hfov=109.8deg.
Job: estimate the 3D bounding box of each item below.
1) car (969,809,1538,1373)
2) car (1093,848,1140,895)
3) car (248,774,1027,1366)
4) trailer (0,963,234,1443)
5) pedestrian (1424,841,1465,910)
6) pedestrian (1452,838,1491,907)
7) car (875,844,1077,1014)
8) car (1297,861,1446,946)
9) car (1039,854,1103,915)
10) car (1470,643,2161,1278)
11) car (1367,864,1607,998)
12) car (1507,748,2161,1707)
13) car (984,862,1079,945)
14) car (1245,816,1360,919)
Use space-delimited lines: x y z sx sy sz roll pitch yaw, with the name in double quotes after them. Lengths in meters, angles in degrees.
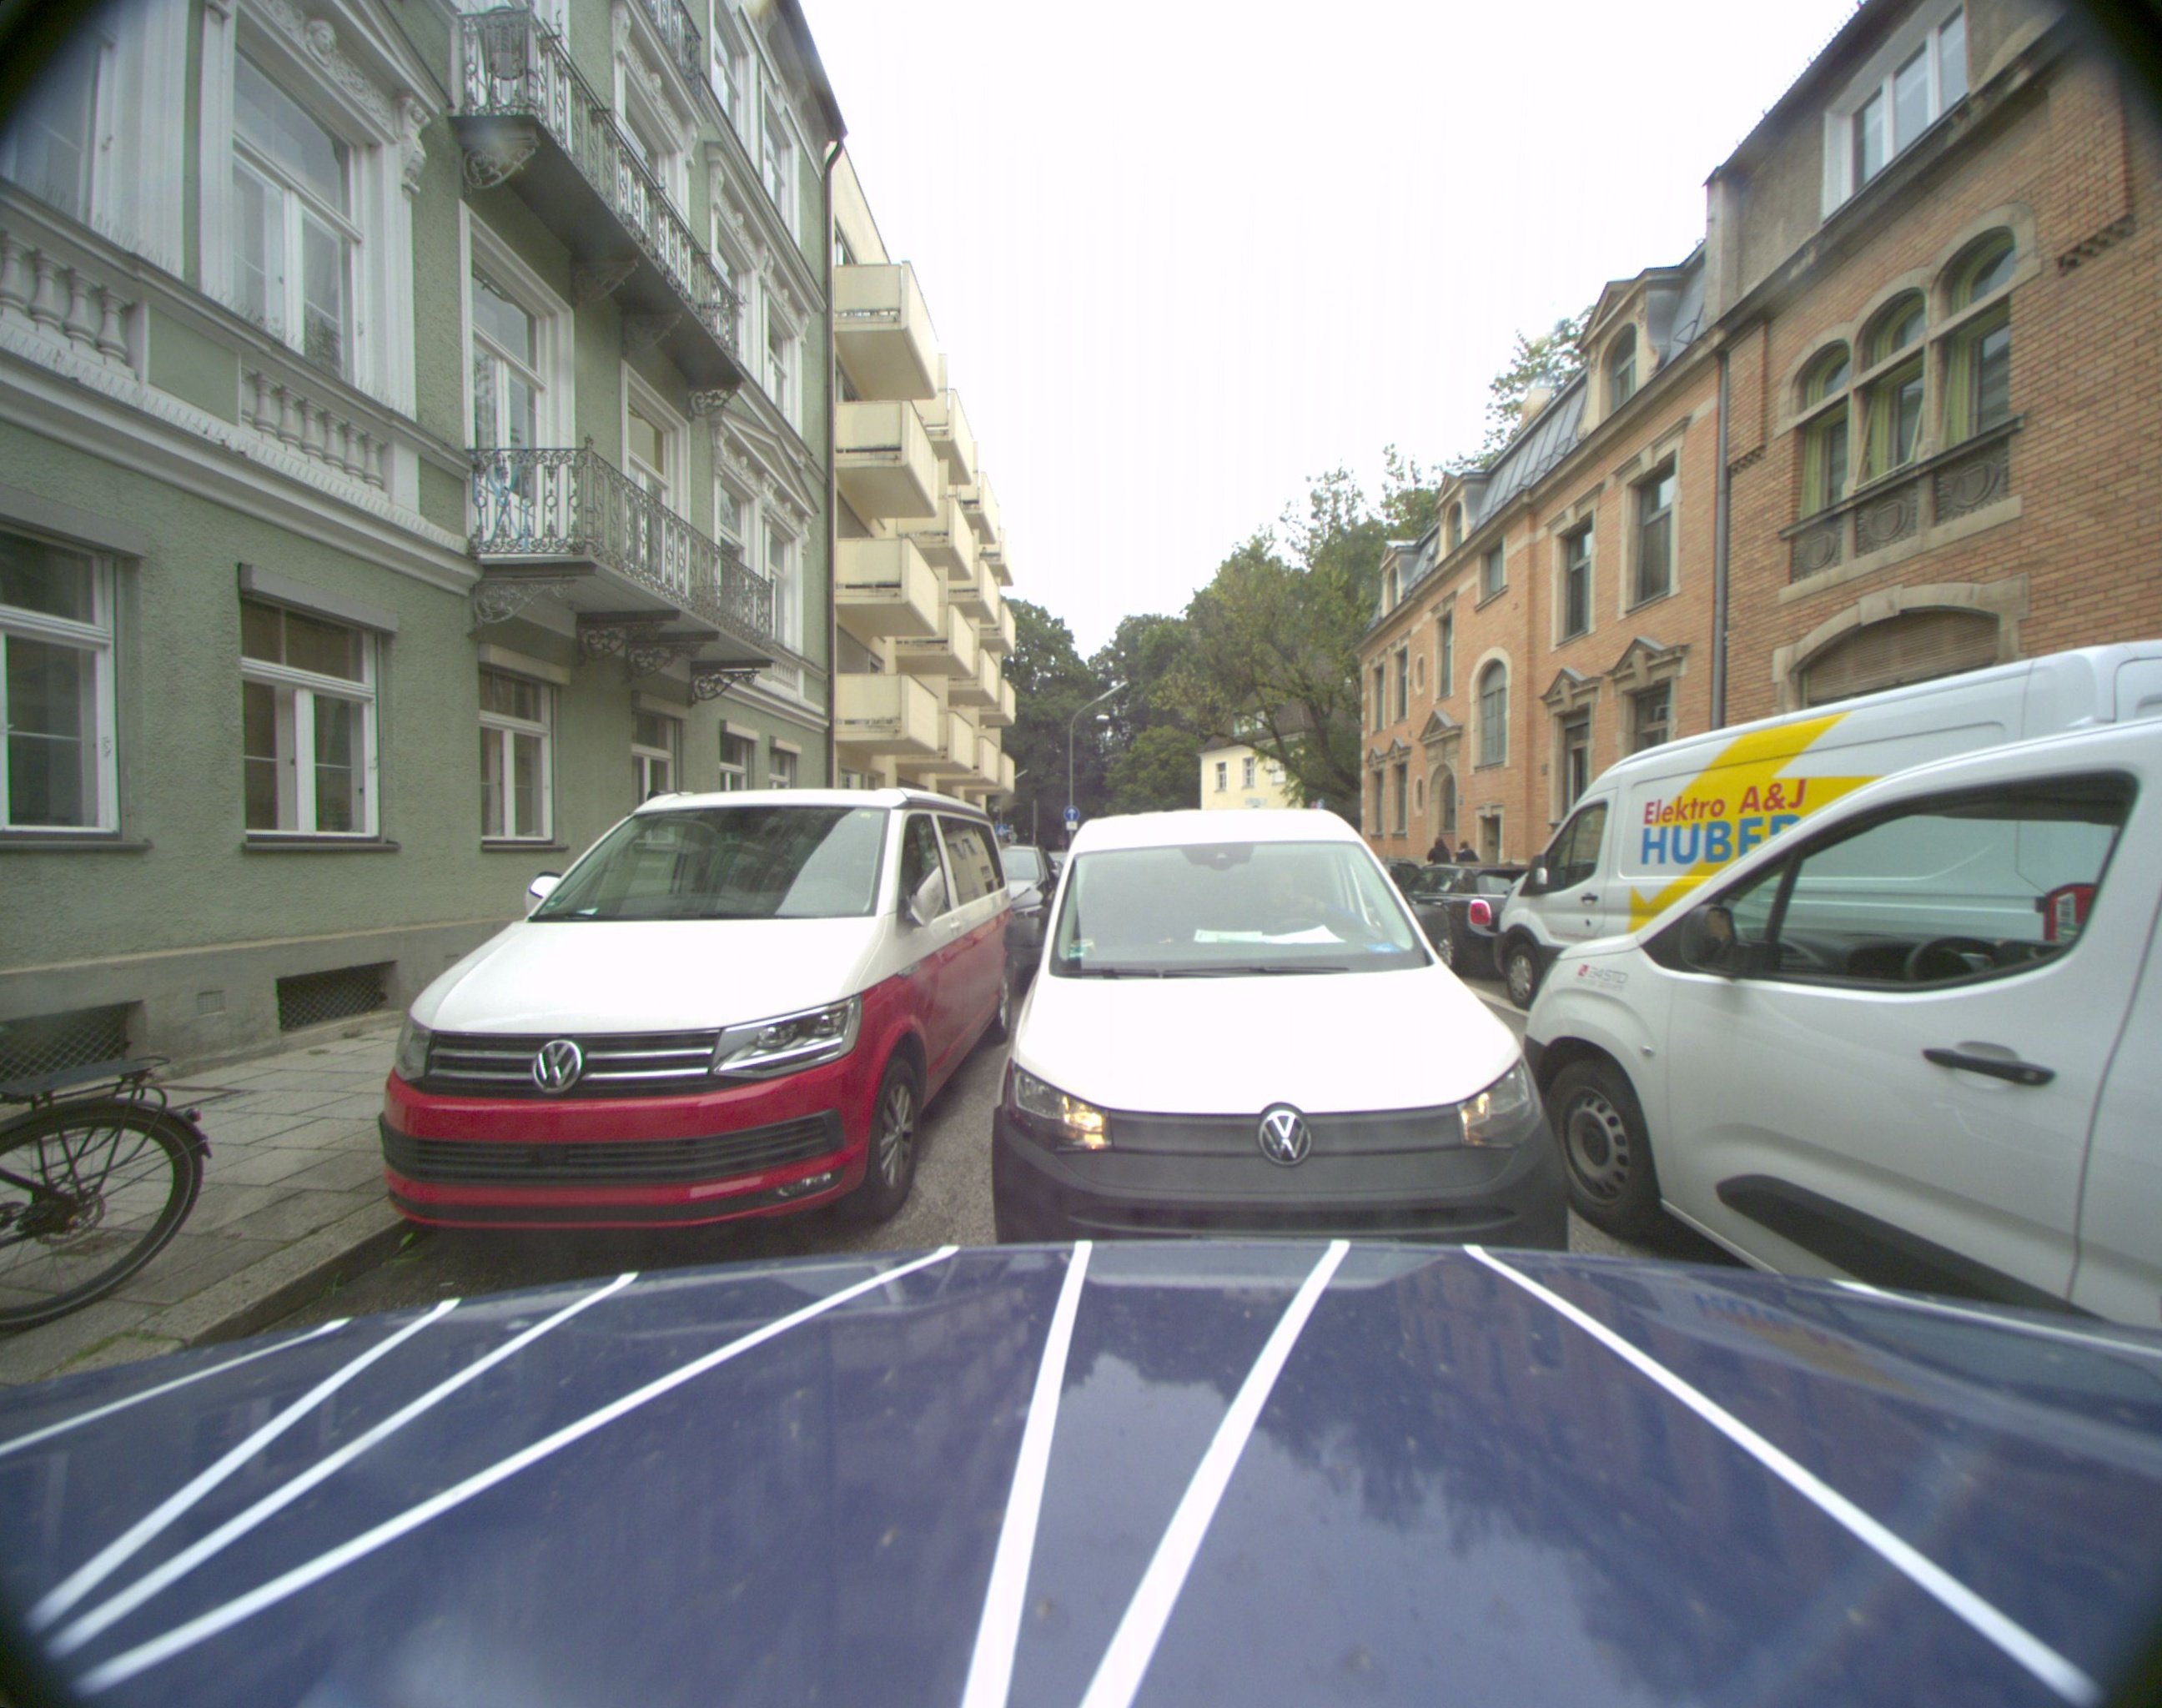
0.674 0.728 4.413 1.775 1.761 4.001 0 1 4 "car"
1.438 0.659 30.819 1.765 1.740 4.000 1 1 2 "car"
-1.633 0.716 4.761 1.857 1.885 4.593 -2 0 4 "car"
-3.478 1.005 1.544 0.944 1.177 2.165 3 1 8 "trailer"
8.776 0.499 18.373 0.633 1.623 0.675 2 1 4 "pedestrian"
9.441 0.445 18.381 0.633 1.623 0.467 2 1 4 "pedestrian"
-1.127 0.801 10.322 1.831 1.747 4.554 -2 0 3 "car"
5.804 0.905 15.709 1.694 1.434 3.985 2 0 3 "car"
-0.210 0.811 22.064 1.550 1.562 3.978 -2 0 3 "car"
5.081 0.415 5.517 1.986 2.464 5.223 1 1 3 "car"
5.346 0.911 10.534 1.526 1.434 3.541 2 0 3 "car"
2.734 0.712 1.335 1.775 1.793 4.573 0 1 6 "car"
-0.957 0.963 16.515 1.550 1.488 3.978 -2 0 3 "car"
6.088 0.349 21.472 2.118 2.525 4.422 3 0 4 "car"
